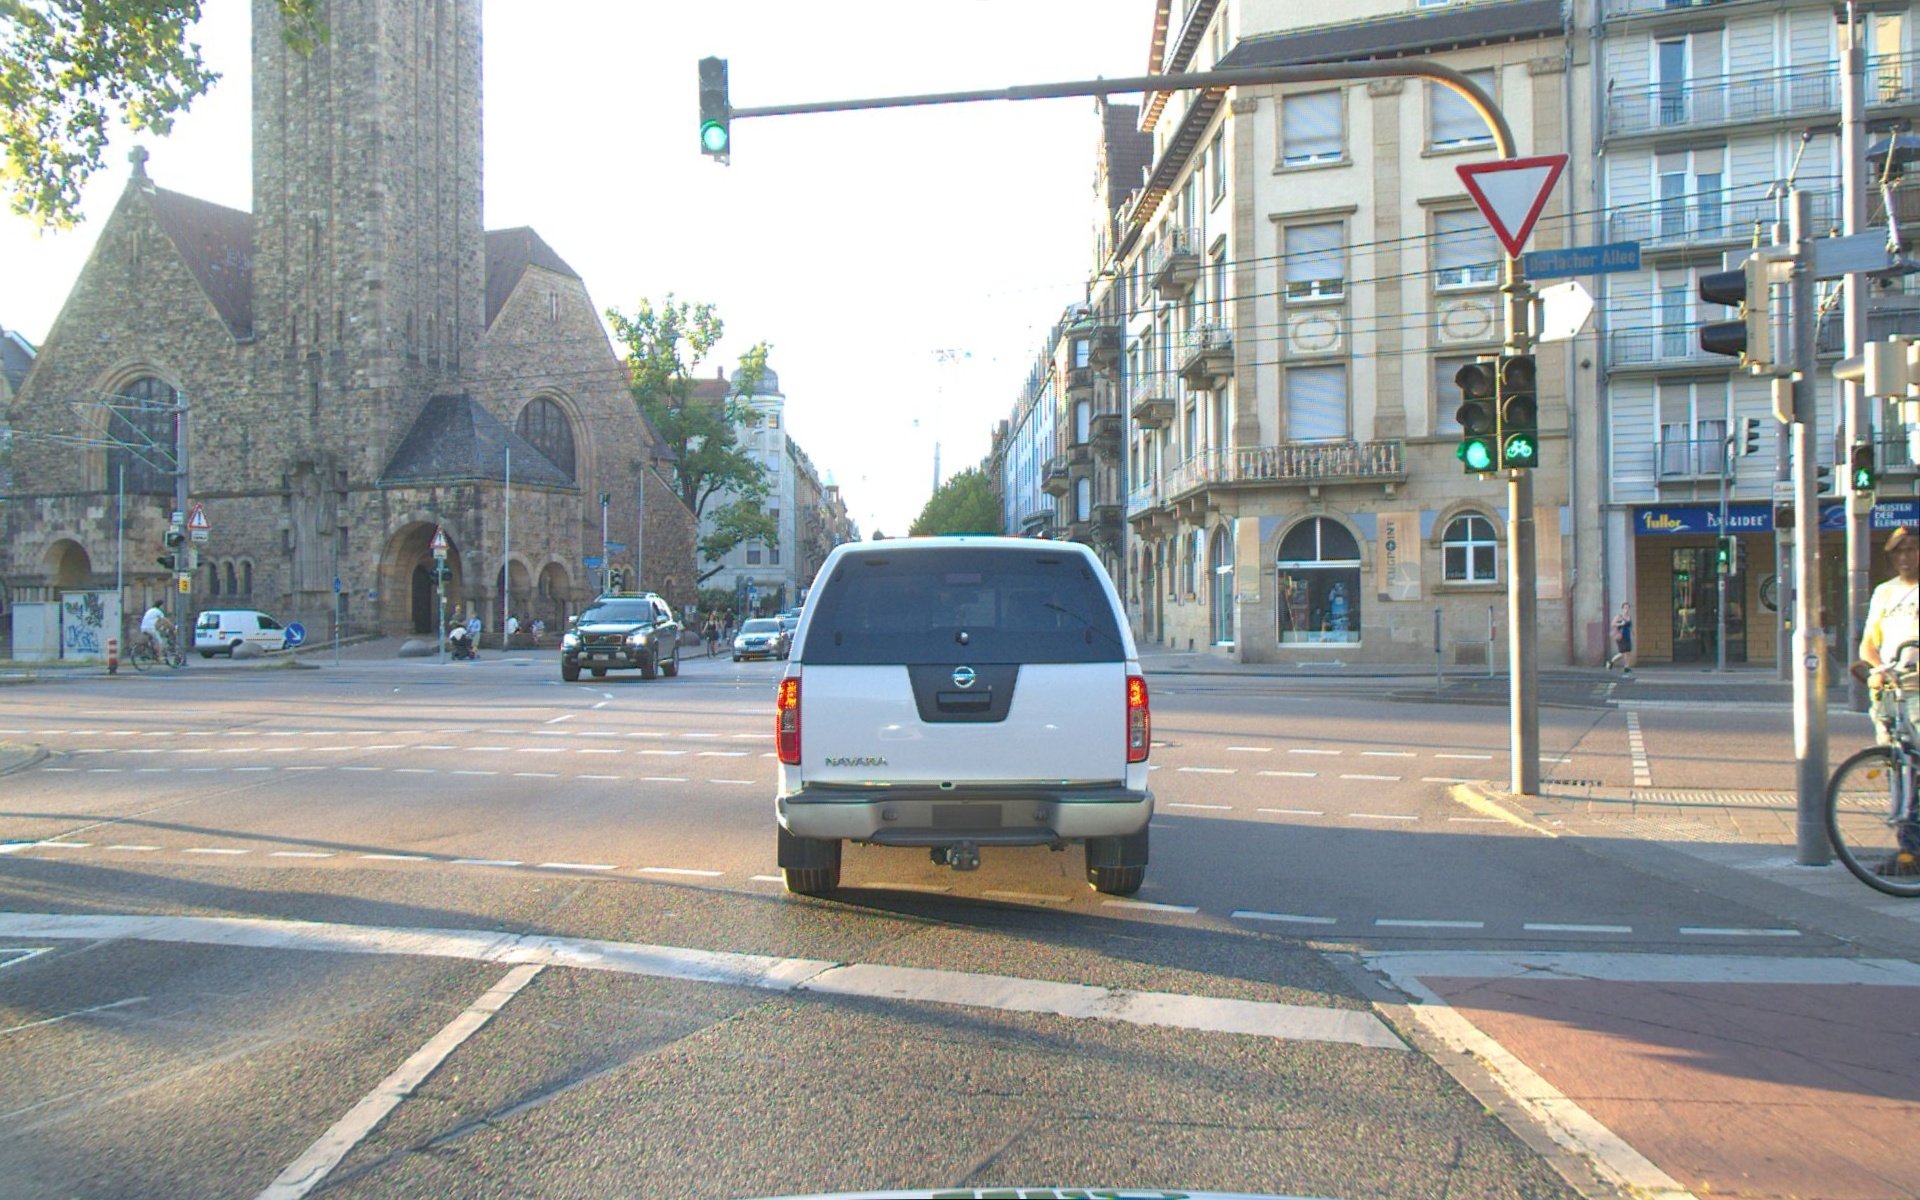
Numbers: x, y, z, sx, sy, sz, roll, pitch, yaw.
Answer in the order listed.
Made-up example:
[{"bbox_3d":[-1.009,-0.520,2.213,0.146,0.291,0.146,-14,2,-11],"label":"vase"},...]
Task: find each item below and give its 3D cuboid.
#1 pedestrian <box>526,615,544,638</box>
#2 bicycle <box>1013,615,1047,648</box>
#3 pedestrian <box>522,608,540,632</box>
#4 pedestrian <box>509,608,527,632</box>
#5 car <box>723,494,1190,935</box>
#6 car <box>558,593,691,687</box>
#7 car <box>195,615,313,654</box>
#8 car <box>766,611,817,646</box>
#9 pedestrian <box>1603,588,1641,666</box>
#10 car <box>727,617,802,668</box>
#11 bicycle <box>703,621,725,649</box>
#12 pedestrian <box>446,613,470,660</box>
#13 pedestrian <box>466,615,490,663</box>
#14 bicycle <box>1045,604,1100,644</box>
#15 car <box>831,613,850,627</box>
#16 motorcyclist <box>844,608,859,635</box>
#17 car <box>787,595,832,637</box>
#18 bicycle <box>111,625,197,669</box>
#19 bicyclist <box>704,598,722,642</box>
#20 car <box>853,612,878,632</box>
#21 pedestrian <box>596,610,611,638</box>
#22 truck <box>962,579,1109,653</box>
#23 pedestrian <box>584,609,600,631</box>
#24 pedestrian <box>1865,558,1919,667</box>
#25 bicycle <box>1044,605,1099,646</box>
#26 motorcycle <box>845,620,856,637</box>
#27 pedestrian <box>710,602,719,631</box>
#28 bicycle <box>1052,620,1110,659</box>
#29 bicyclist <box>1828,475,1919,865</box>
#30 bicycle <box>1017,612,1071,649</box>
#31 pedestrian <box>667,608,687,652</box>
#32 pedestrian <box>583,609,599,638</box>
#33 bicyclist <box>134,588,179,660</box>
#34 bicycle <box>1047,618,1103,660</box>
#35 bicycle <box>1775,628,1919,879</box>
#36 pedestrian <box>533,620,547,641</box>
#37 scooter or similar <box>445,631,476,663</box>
[{"bbox_3d":[-17.546,1.095,68.323,0.469,0.977,0.522,0,-1,29],"label":"pedestrian"},{"bbox_3d":[2.387,1.071,56.176,1.055,1.042,0.317,-4,-1,-3],"label":"bicycle"},{"bbox_3d":[-17.414,0.798,67.157,0.511,0.977,0.479,0,-1,19],"label":"pedestrian"},{"bbox_3d":[-18.026,0.801,67.428,0.511,0.977,0.479,0,-1,19],"label":"pedestrian"},{"bbox_3d":[-0.024,0.510,8.957,1.953,1.841,3.999,0,-1,0],"label":"car"},{"bbox_3d":[-7.049,0.785,35.233,1.953,1.815,4.796,1,0,-2],"label":"car"},{"bbox_3d":[-28.520,1.388,66.931,1.679,1.543,4.453,0,-1,23],"label":"car"},{"bbox_3d":[-7.655,1.282,75.351,1.953,1.503,4.138,-2,0,-2],"label":"car"},{"bbox_3d":[15.454,0.628,38.607,0.771,1.810,0.543,0,-1,25],"label":"pedestrian"},{"bbox_3d":[-6.903,1.481,58.956,1.952,1.585,4.770,-2,1,1],"label":"car"},{"bbox_3d":[-9.451,1.327,63.564,0.587,1.062,1.945,0,-1,-2],"label":"bicycle"},{"bbox_3d":[-18.306,1.328,60.365,0.620,1.728,0.603,0,-1,10],"label":"pedestrian"},{"bbox_3d":[-17.572,1.409,60.324,0.620,1.728,0.603,0,-1,10],"label":"pedestrian"},{"bbox_3d":[3.901,0.840,57.220,1.781,1.259,0.412,-4,-1,-3],"label":"bicycle"},{"bbox_3d":[-12.763,2.156,176.953,1.821,1.556,3.999,0,-1,-1],"label":"car"},{"bbox_3d":[-6.762,1.353,103.290,0.857,1.673,0.963,0,-1,-2],"label":"motorcyclist"},{"bbox_3d":[-7.790,0.827,85.890,1.953,2.049,4.948,-1,-1,-2],"label":"car"},{"bbox_3d":[-21.328,1.229,43.834,0.643,1.097,2.245,0,0,19],"label":"bicycle"},{"bbox_3d":[-9.472,0.751,63.490,0.587,1.673,0.963,0,-1,-2],"label":"bicyclist"},{"bbox_3d":[-7.518,1.780,131.914,1.821,1.556,3.999,0,-1,-1],"label":"car"},{"bbox_3d":[-16.085,1.092,74.598,0.468,1.267,0.523,0,-1,17],"label":"pedestrian"},{"bbox_3d":[2.864,0.594,61.398,5.629,2.610,2.251,0,-1,-44],"label":"truck"},{"bbox_3d":[-16.212,0.881,72.875,0.510,0.977,0.479,0,-1,17],"label":"pedestrian"},{"bbox_3d":[19.500,0.254,34.609,0.850,2.247,0.821,0,-1,19],"label":"pedestrian"},{"bbox_3d":[3.808,0.864,56.493,1.781,1.259,0.477,-4,-1,-3],"label":"bicycle"},{"bbox_3d":[-6.833,1.773,103.171,0.587,1.062,1.945,0,-1,-2],"label":"motorcycle"},{"bbox_3d":[-14.703,1.004,99.147,0.549,1.725,0.643,0,-1,-8],"label":"pedestrian"},{"bbox_3d":[4.008,1.308,54.836,1.781,1.170,0.636,-4,-1,-3],"label":"bicycle"},{"bbox_3d":[4.793,0.338,8.180,0.690,1.856,0.621,1,-1,-33],"label":"bicyclist"},{"bbox_3d":[2.809,1.014,55.297,1.692,1.102,0.317,-4,-1,-3],"label":"bicycle"},{"bbox_3d":[-12.352,1.304,72.194,0.796,1.934,0.666,0,-1,-3],"label":"pedestrian"},{"bbox_3d":[-16.505,1.041,73.962,0.468,1.267,0.523,0,-1,17],"label":"pedestrian"},{"bbox_3d":[-21.255,0.626,43.753,0.643,1.859,0.859,0,1,20],"label":"bicyclist"},{"bbox_3d":[3.881,1.314,55.775,1.781,1.259,0.488,-4,-1,-3],"label":"bicycle"},{"bbox_3d":[4.958,0.706,8.285,2.046,1.129,0.621,1,-1,-33],"label":"bicycle"},{"bbox_3d":[-19.892,1.447,78.280,0.541,0.977,0.708,0,-1,-7],"label":"pedestrian"},{"bbox_3d":[-17.947,1.676,59.445,0.620,1.122,1.079,-2,-1,10],"label":"scooter or similar"}]
